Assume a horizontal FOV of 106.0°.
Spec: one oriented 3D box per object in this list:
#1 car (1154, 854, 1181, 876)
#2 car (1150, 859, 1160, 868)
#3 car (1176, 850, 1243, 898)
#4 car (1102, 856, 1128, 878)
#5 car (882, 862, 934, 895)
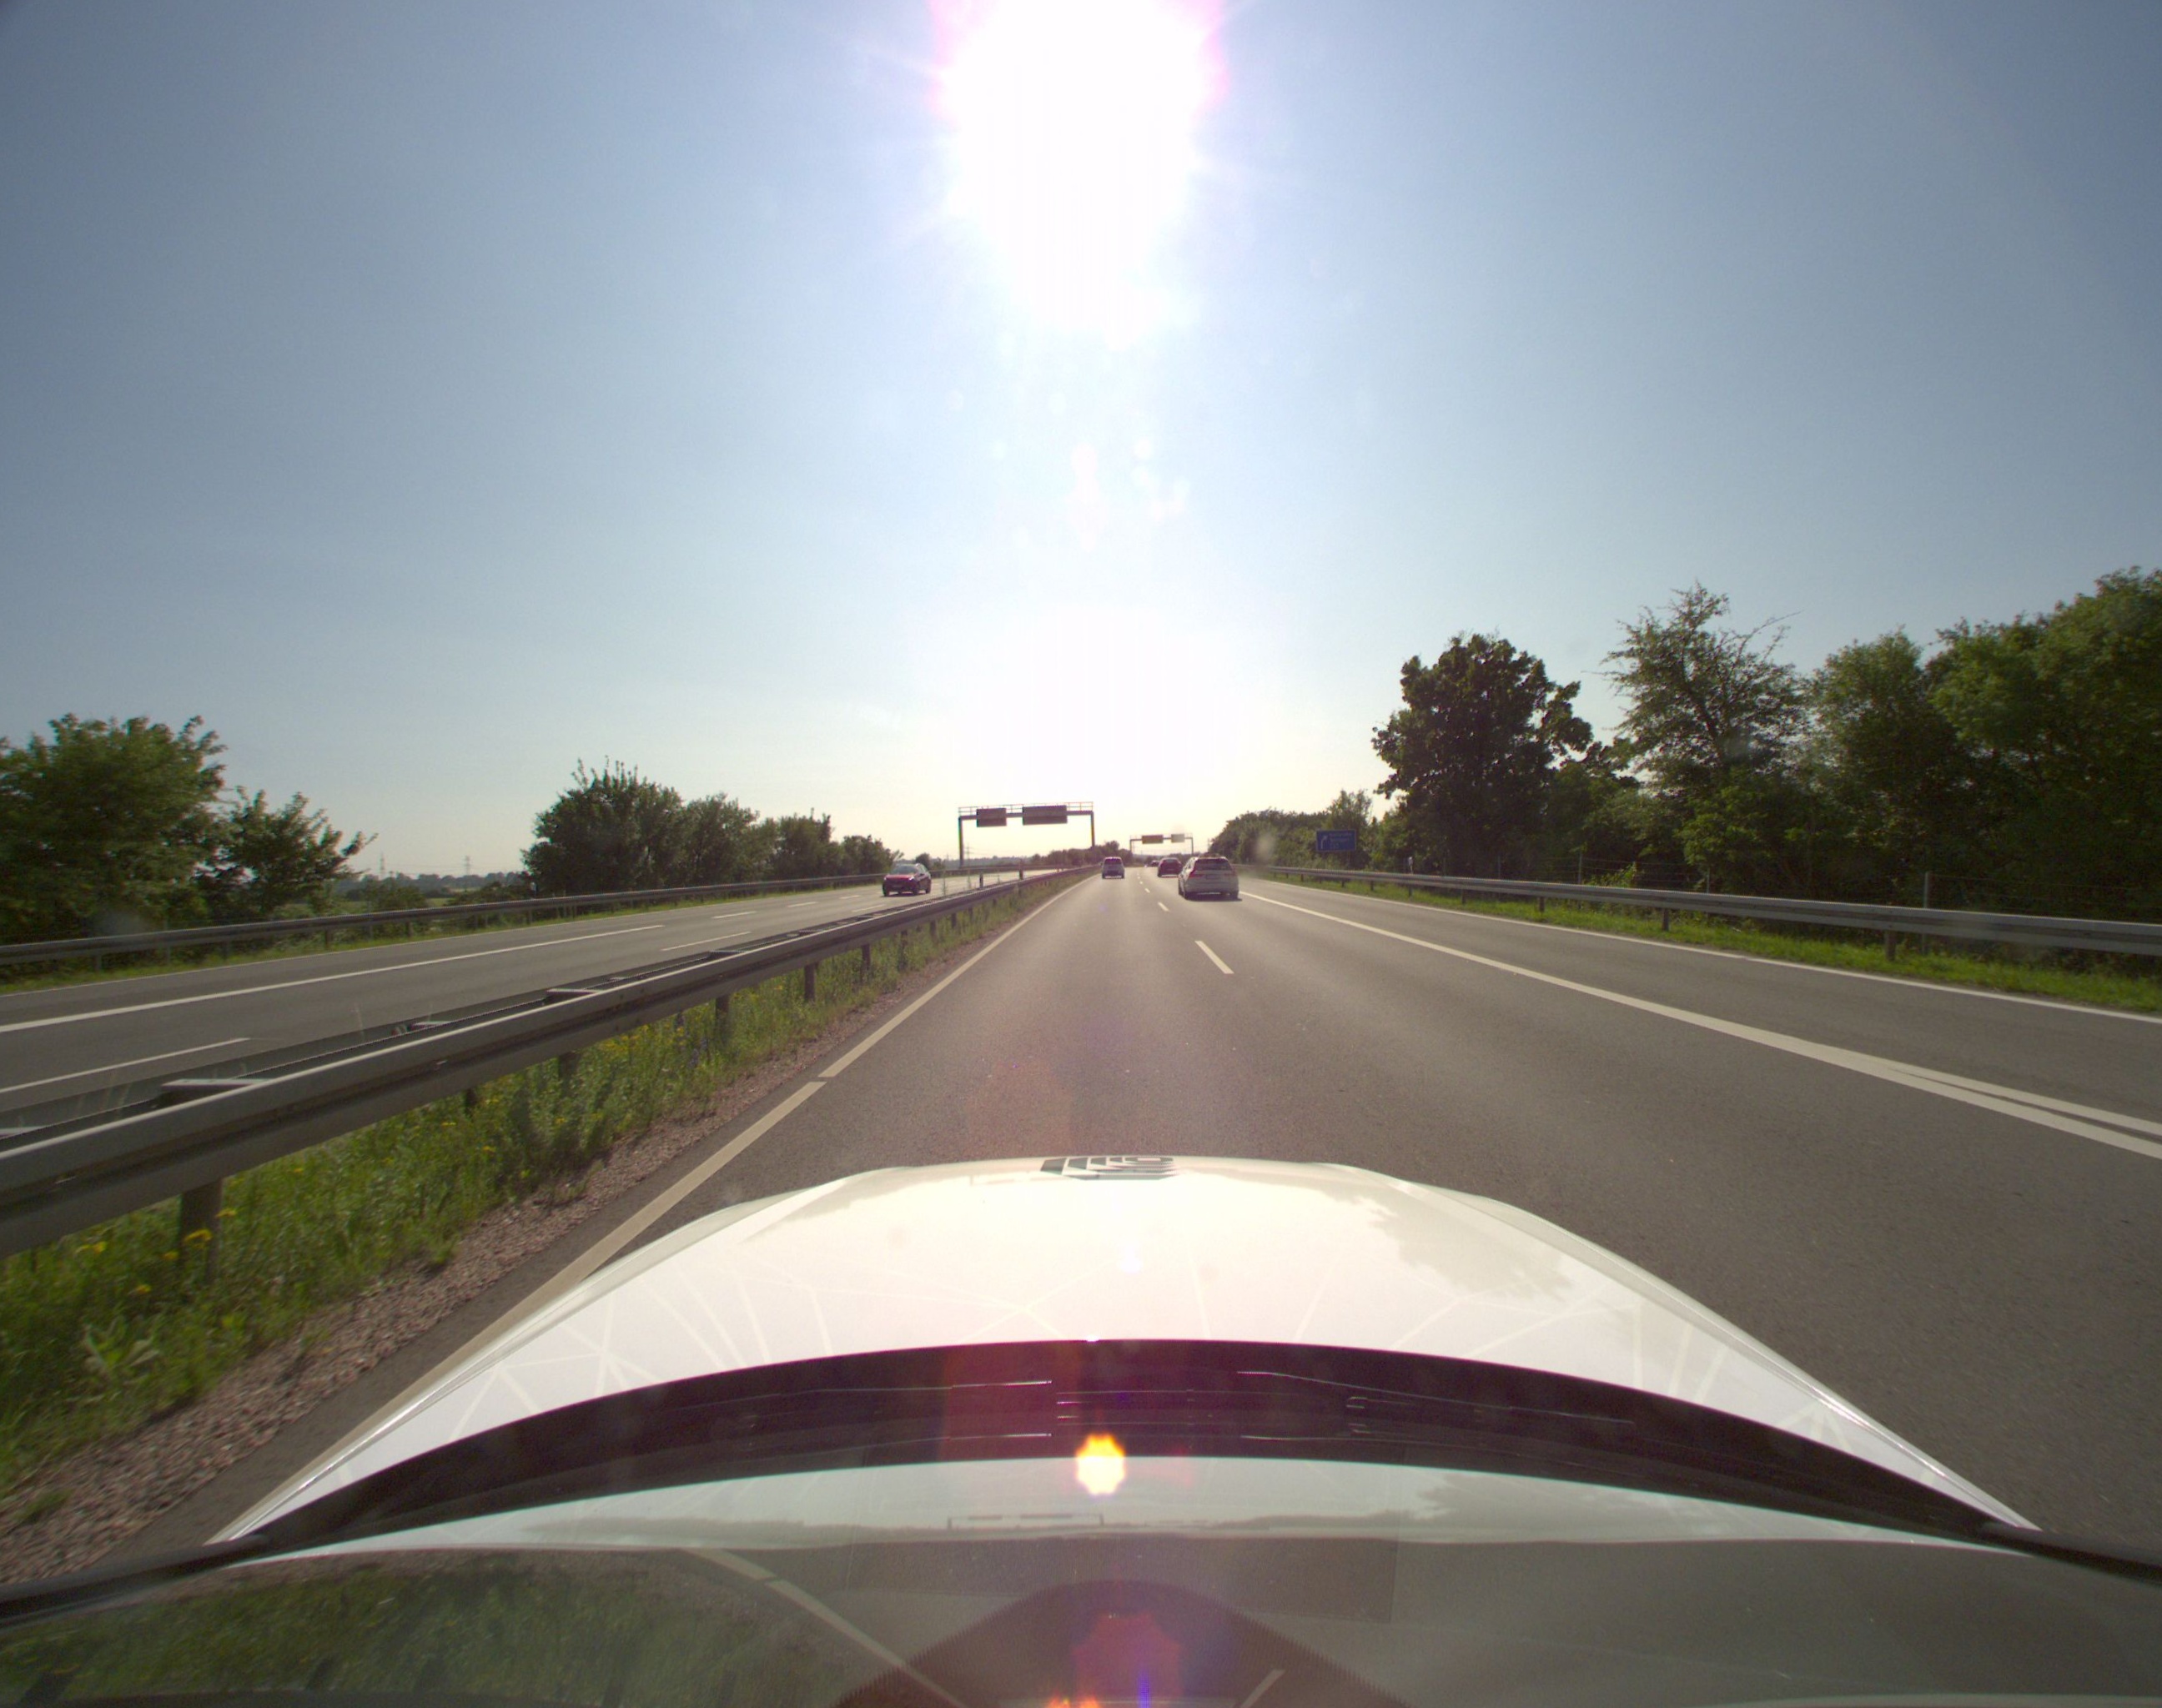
[{"bbox_3d":[6.462,0.841,61.287,1.786,1.543,3.673,-1,-1,2],"label":"car"},{"bbox_3d":[16.024,2.100,177.068,1.985,2.014,4.004,0,0,4],"label":"car"},{"bbox_3d":[4.544,0.678,29.405,1.950,1.601,4.109,0,0,2],"label":"car"},{"bbox_3d":[2.525,0.988,60.182,1.786,1.503,4.045,-3,-1,2],"label":"car"},{"bbox_3d":[-8.764,1.207,41.499,1.636,1.575,4.265,0,0,1],"label":"car"}]
